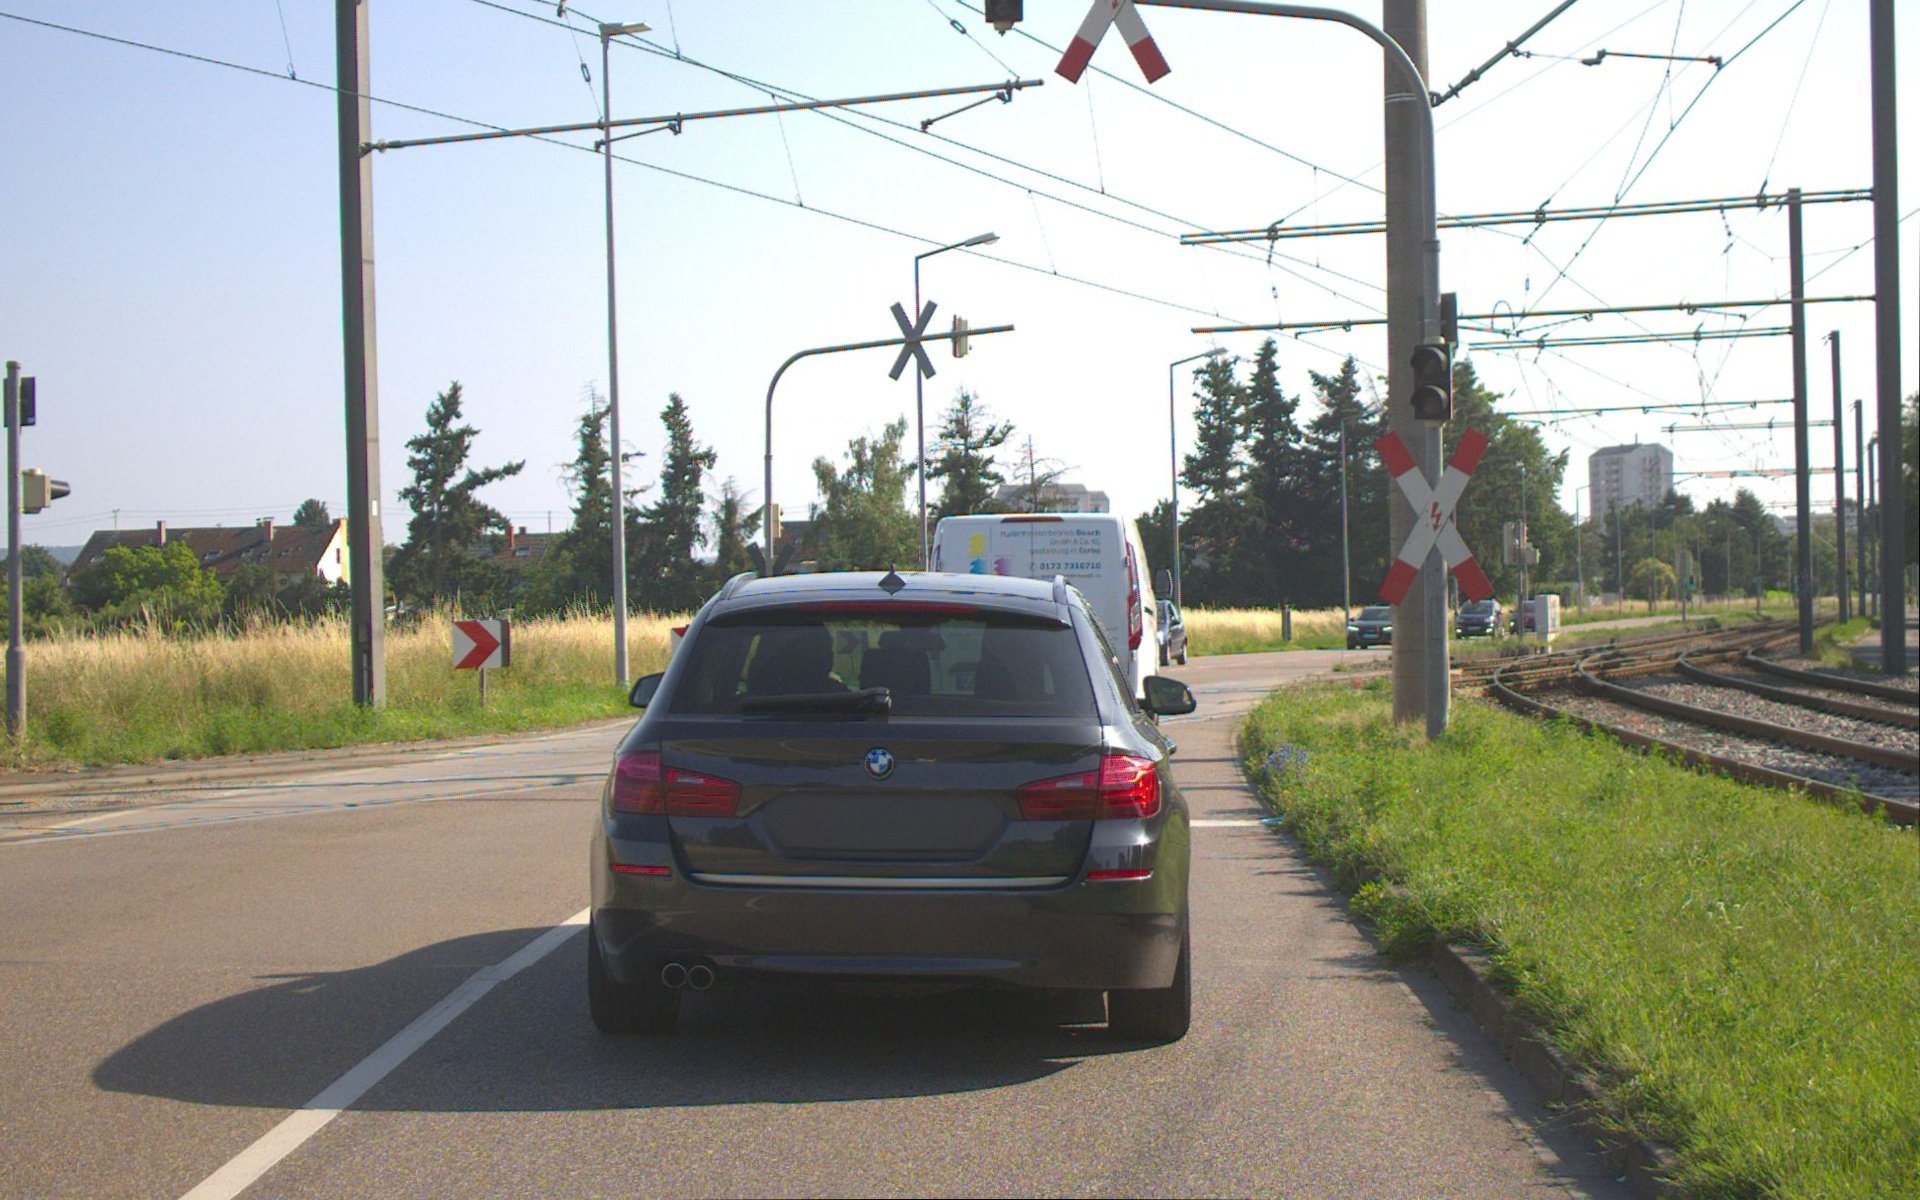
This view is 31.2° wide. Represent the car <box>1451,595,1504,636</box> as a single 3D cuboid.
[{"bbox_3d":[21.926,0.641,145.551,1.707,1.659,4.586,0,0,15],"label":"car"}]

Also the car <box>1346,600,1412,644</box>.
[{"bbox_3d":[14.201,0.740,116.296,1.694,1.435,4.281,0,0,14],"label":"car"}]

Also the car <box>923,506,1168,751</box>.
[{"bbox_3d":[0.847,0.219,30.453,1.858,1.981,5.107,0,0,5],"label":"car"}]

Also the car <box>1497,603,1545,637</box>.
[{"bbox_3d":[26.186,0.925,160.428,1.714,1.544,3.925,0,0,16],"label":"car"}]

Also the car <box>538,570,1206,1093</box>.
[{"bbox_3d":[-0.261,0.628,12.004,1.869,1.447,4.744,0,1,0],"label":"car"}]
